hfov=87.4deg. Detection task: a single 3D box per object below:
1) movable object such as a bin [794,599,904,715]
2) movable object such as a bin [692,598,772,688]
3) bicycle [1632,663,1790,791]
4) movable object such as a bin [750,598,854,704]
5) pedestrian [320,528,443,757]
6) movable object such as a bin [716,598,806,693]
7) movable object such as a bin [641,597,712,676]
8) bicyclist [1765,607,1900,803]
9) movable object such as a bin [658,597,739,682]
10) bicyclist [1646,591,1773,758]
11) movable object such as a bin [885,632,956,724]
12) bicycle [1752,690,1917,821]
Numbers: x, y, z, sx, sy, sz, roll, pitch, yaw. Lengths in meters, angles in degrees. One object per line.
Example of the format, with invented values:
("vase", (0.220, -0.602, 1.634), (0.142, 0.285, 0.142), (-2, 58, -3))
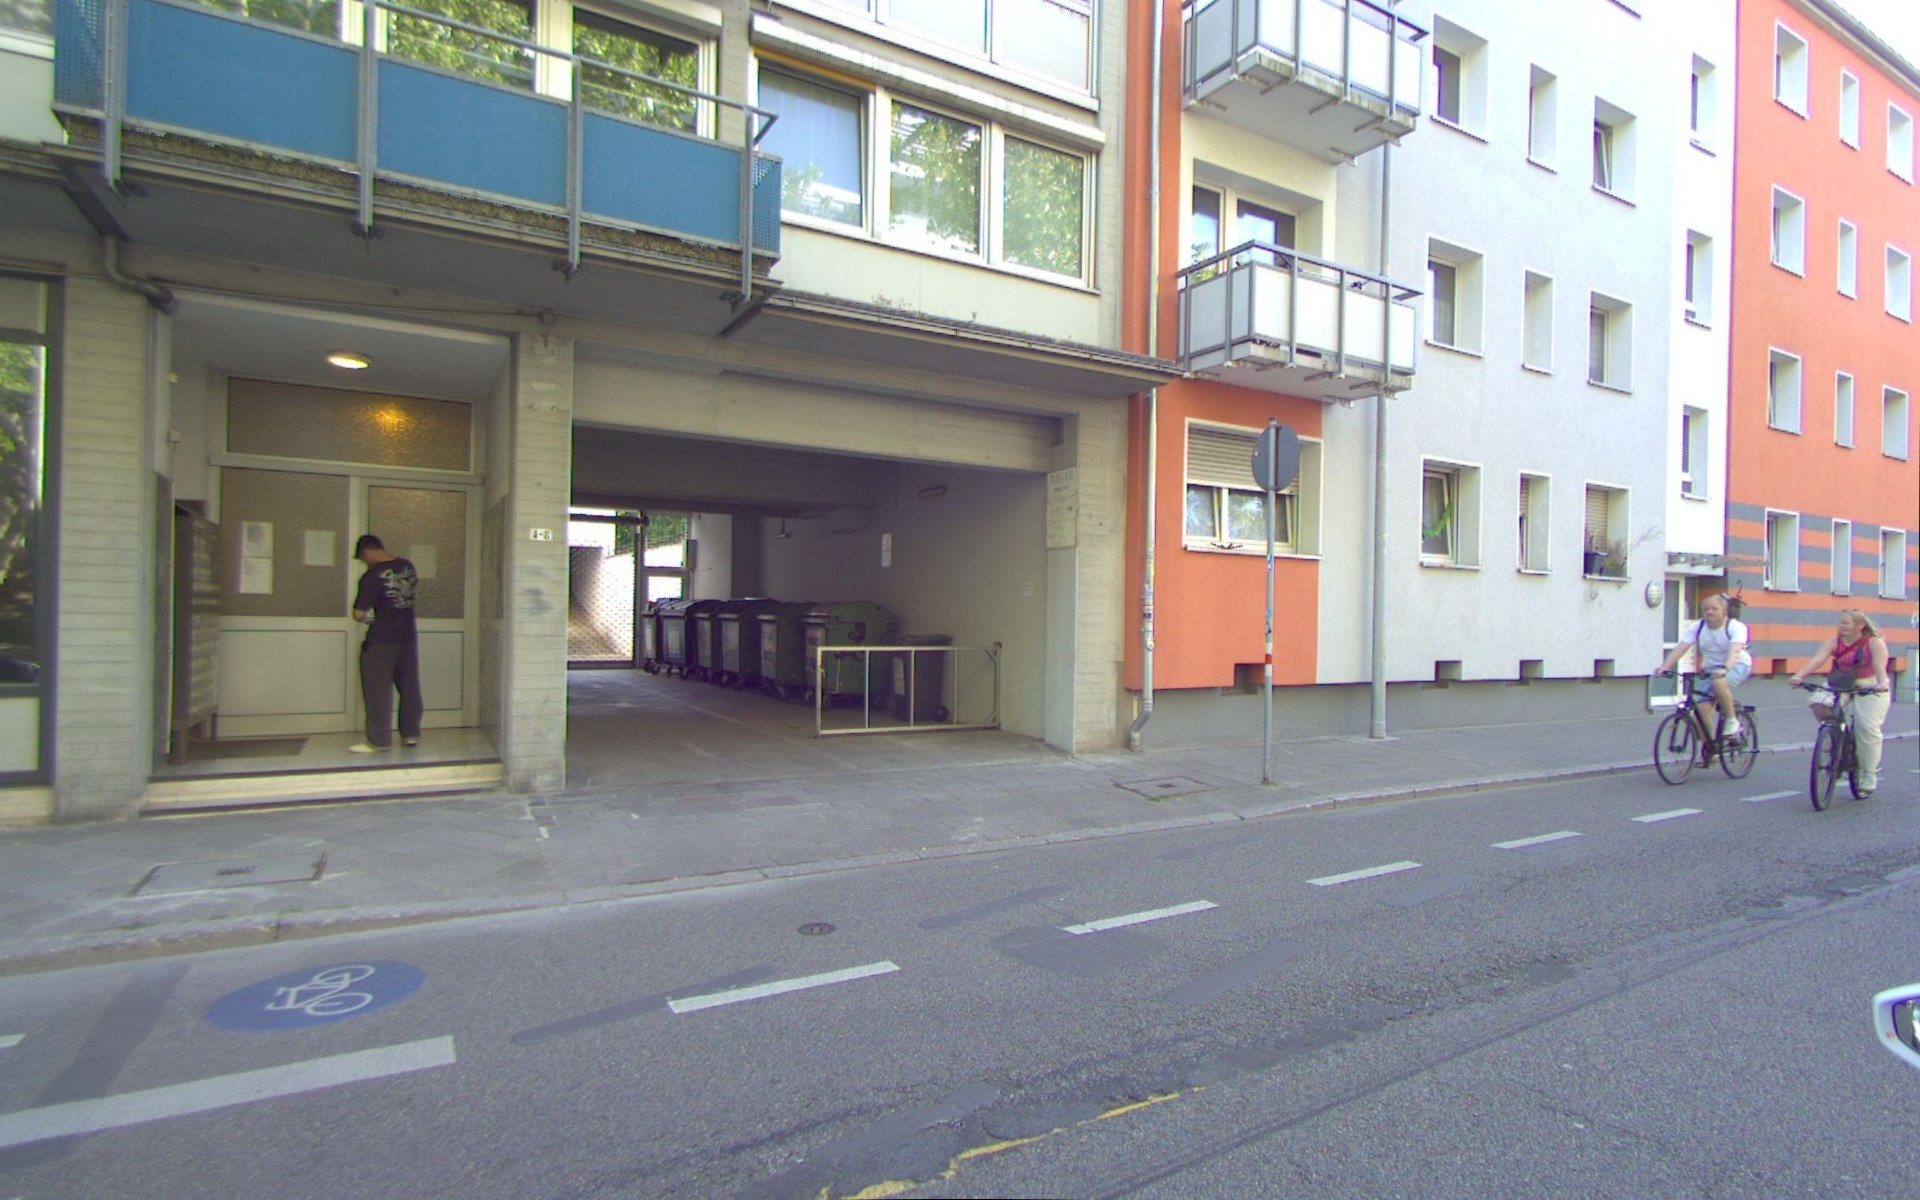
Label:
("movable object such as a bin", (-1.544, 0.749, 13.799), (1.086, 1.503, 1.251), (1, 0, -30))
("movable object such as a bin", (-4.015, 0.731, 17.647), (1.080, 1.503, 1.159), (1, 0, -30))
("bicycle", (7.591, 1.219, 10.128), (1.821, 1.093, 0.856), (1, -1, -39))
("movable object such as a bin", (-2.402, 0.740, 15.151), (1.167, 1.503, 1.252), (1, 0, -30))
("pedestrian", (-4.577, 0.323, 7.982), (0.537, 1.736, 0.662), (1, 0, 3))
("movable object such as a bin", (-3.304, 0.733, 16.635), (1.167, 1.503, 1.073), (1, 0, -30))
("movable object such as a bin", (-5.619, 0.715, 19.911), (1.167, 1.503, 0.819), (1, 0, -30))
("bicyclist", (7.629, 0.869, 8.780), (0.972, 1.599, 0.680), (1, 0, -36))
("movable object such as a bin", (-4.866, 0.719, 18.676), (1.167, 1.503, 1.215), (1, 0, -30))
("bicyclist", (7.515, 0.714, 10.075), (0.832, 1.575, 0.835), (1, 0, -40))
("movable object such as a bin", (-0.490, 0.950, 12.460), (0.687, 1.094, 0.579), (1, 0, -30))
("bicycle", (7.746, 1.323, 8.875), (1.845, 0.941, 0.689), (1, -1, -35))
